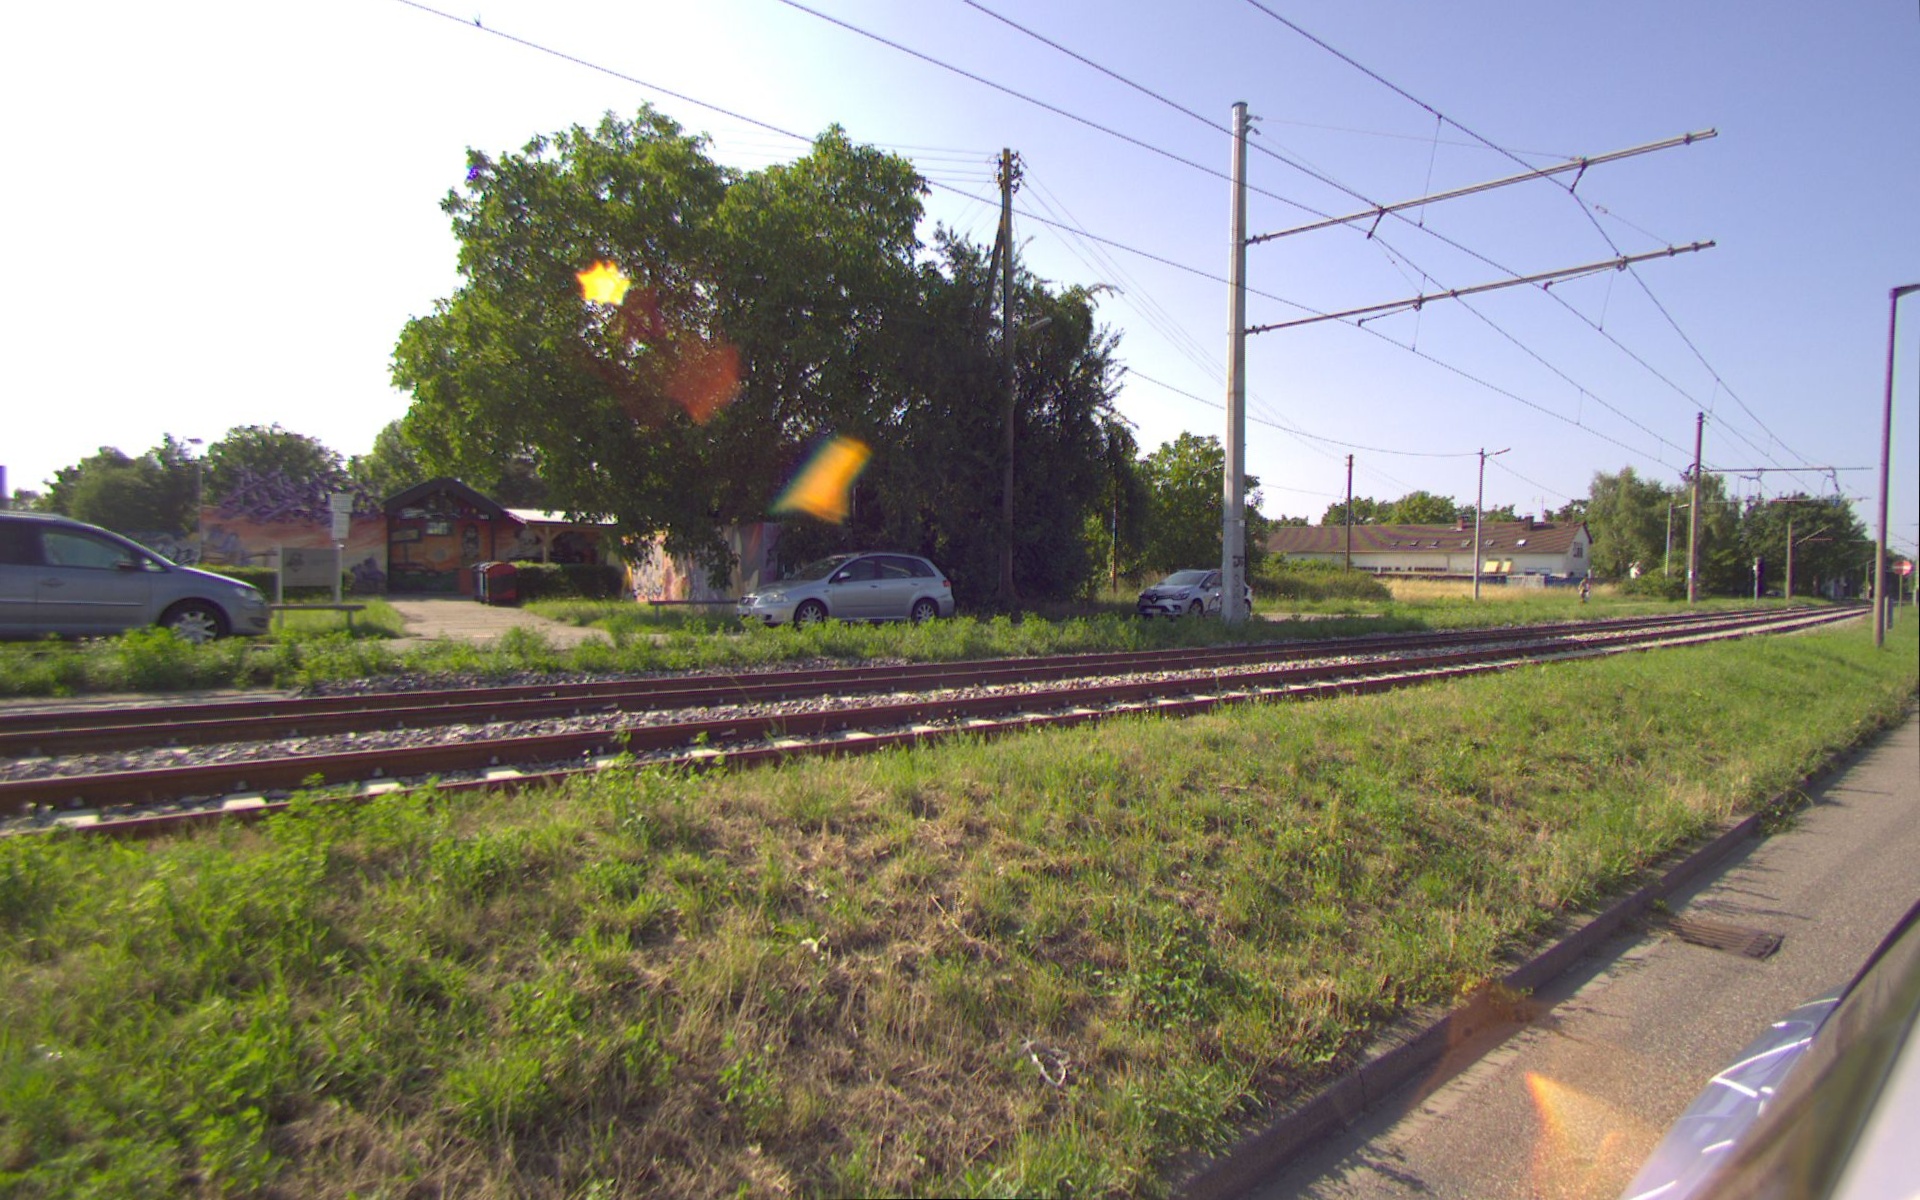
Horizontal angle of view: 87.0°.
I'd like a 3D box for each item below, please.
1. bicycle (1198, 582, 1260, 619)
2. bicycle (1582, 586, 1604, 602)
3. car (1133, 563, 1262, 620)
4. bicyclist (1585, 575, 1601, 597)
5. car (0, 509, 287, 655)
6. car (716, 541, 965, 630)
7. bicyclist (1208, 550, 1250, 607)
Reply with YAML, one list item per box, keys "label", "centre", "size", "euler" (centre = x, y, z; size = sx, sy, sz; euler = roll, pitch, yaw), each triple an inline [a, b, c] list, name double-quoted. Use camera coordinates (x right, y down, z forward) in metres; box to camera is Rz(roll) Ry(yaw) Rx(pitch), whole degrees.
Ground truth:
- label: "bicycle"
  centre: [6.929, 0.008, 26.014]
  size: [1.812, 0.921, 0.644]
  euler: [0, 1, -42]
- label: "bicycle"
  centre: [37.132, -0.356, 59.337]
  size: [1.782, 0.921, 0.643]
  euler: [0, 0, -42]
- label: "car"
  centre: [6.694, -0.234, 28.284]
  size: [4.063, 1.466, 1.535]
  euler: [0, 2, -44]
- label: "bicyclist"
  centre: [37.082, -0.828, 59.299]
  size: [0.778, 1.248, 0.640]
  euler: [0, 0, -42]
- label: "car"
  centre: [-10.836, -0.231, 12.151]
  size: [4.408, 1.630, 1.524]
  euler: [0, 2, -43]
- label: "car"
  centre: [-2.329, -0.291, 20.371]
  size: [4.640, 1.610, 1.913]
  euler: [0, 2, -38]
- label: "bicyclist"
  centre: [6.924, -0.549, 26.008]
  size: [0.946, 1.440, 0.630]
  euler: [0, 0, -42]
